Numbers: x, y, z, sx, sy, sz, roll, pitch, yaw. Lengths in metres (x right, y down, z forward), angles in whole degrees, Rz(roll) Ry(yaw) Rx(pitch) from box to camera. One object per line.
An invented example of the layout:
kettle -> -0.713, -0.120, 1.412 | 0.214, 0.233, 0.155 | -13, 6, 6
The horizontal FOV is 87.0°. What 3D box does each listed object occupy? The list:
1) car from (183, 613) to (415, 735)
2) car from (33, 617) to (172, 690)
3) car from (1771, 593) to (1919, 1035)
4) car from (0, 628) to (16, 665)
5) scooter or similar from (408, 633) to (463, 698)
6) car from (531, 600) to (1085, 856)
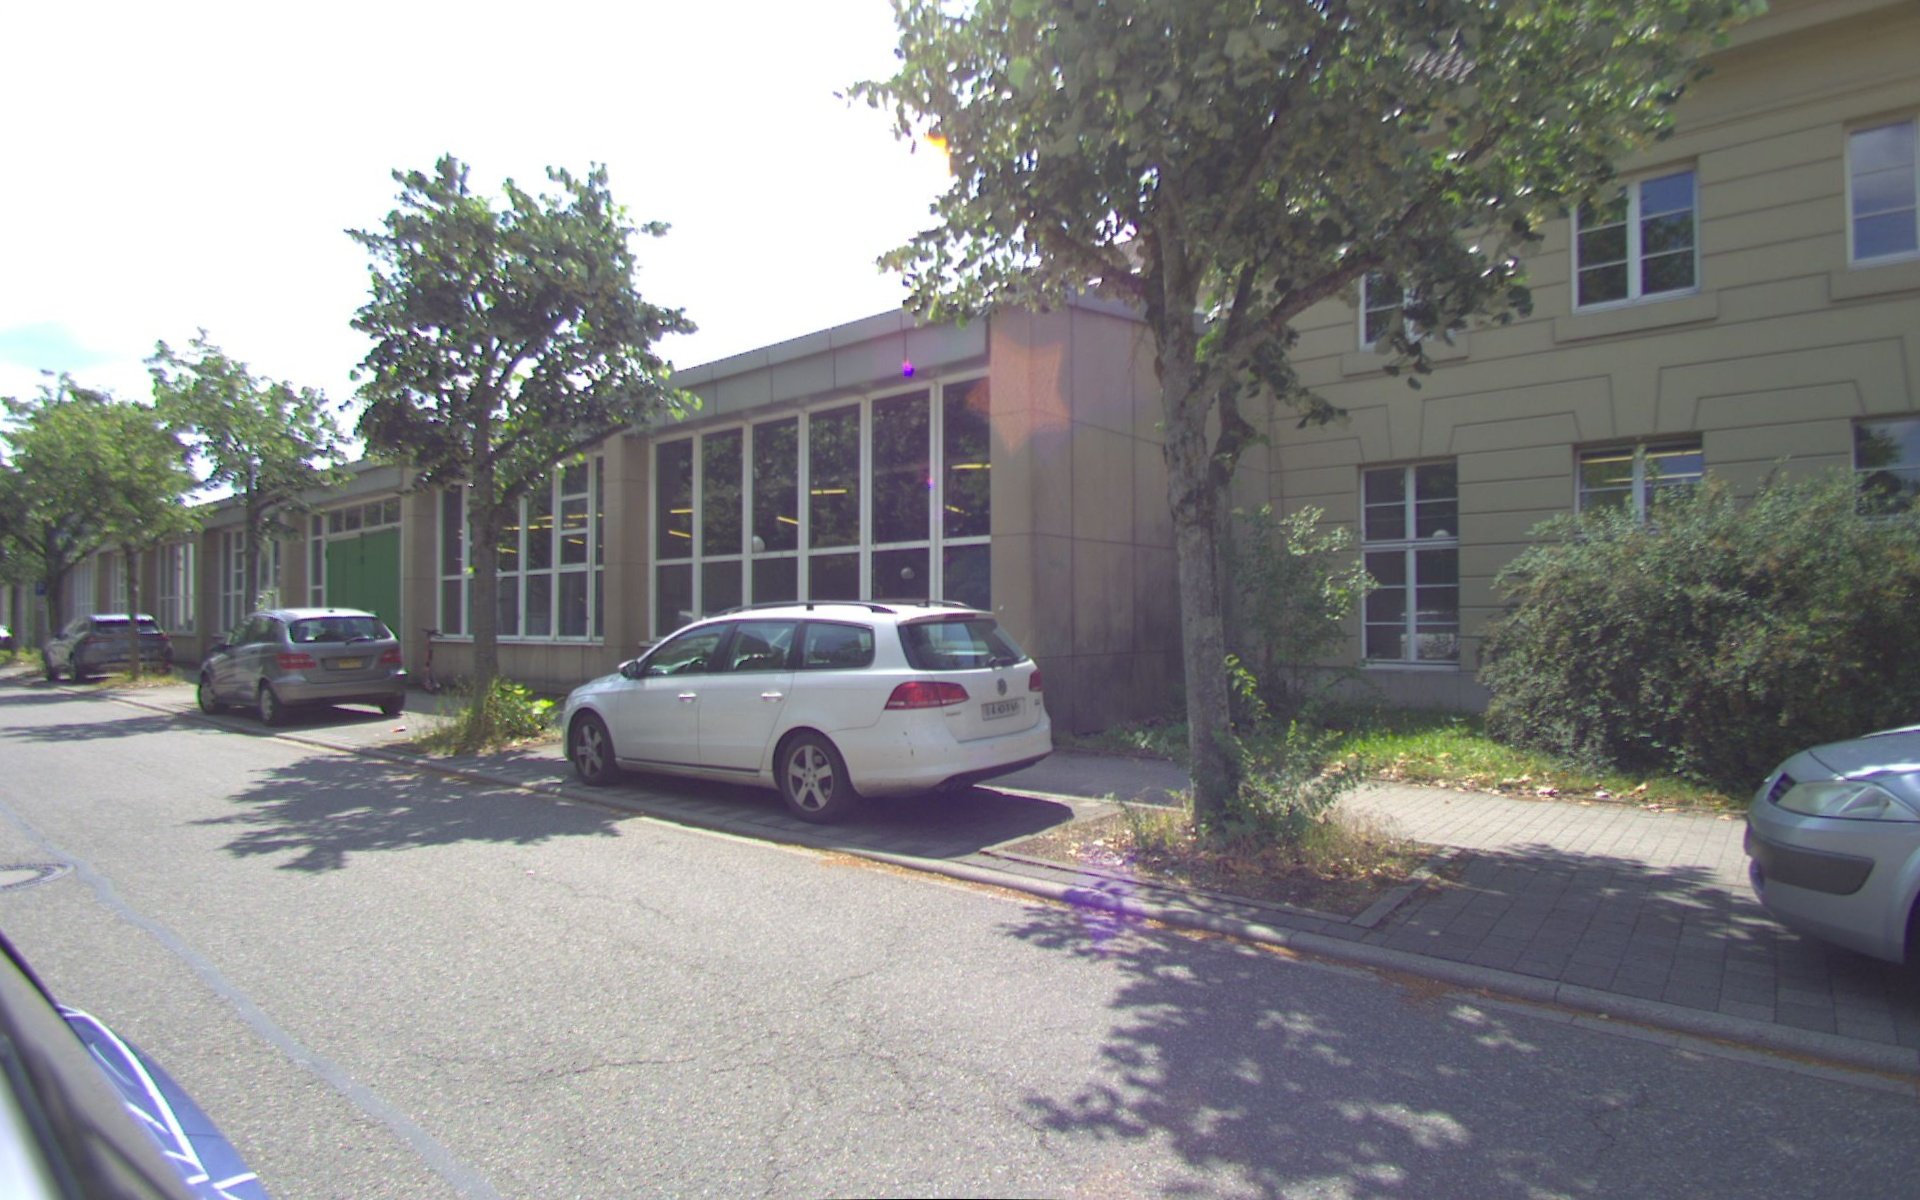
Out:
car -> -10.125, 1.020, 15.402 | 4.108, 1.568, 1.740 | -1, 1, 39
car -> -21.773, 1.293, 25.643 | 4.510, 1.644, 1.804 | -1, 1, 38
car -> 4.858, 0.633, 2.653 | 4.164, 1.354, 1.707 | -2, 0, 42
car -> -39.694, 1.923, 40.915 | 4.285, 1.446, 1.708 | -3, 0, 40
scooter or similar -> -9.936, 1.224, 19.164 | 1.214, 1.178, 0.500 | -1, 0, 41
car -> -1.421, 0.790, 8.080 | 4.578, 1.467, 1.708 | -1, 1, 39
